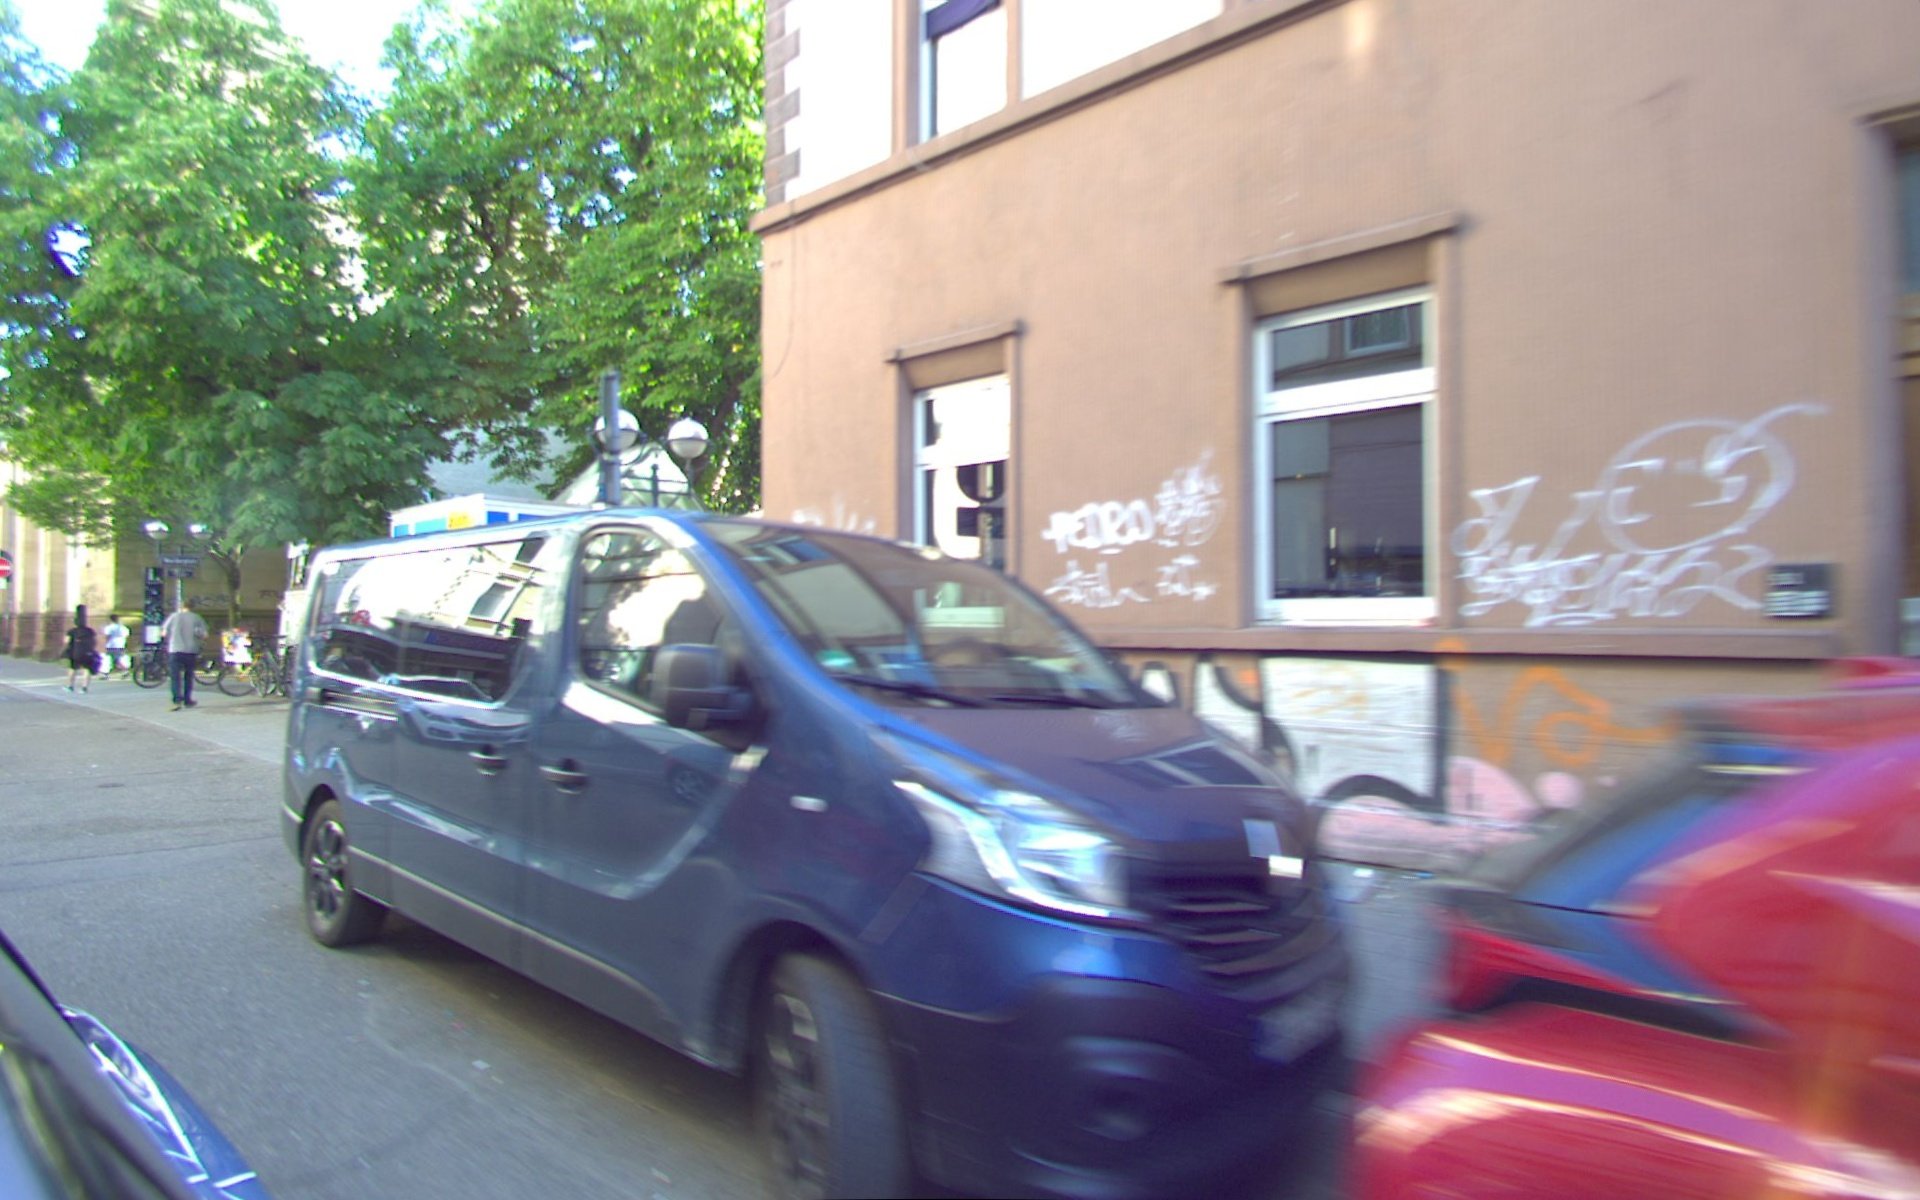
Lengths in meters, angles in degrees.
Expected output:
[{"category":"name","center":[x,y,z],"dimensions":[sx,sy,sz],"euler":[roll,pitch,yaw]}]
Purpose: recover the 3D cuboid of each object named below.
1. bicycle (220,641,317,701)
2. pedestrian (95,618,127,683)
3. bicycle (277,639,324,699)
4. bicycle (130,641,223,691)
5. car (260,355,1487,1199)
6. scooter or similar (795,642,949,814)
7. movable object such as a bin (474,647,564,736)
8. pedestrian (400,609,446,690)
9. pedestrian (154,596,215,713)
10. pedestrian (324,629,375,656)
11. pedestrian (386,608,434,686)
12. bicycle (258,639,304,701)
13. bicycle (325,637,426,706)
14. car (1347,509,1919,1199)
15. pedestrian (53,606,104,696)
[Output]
[{"category":"bicycle","center":[-13.569,1.369,19.877],"dimensions":[1.553,1.090,0.347],"euler":[0,-1,-39]},{"category":"pedestrian","center":[-21.376,1.253,25.472],"dimensions":[0.714,1.605,0.474],"euler":[-1,-1,38]},{"category":"bicycle","center":[-12.206,1.260,18.717],"dimensions":[1.577,1.054,0.289],"euler":[-2,-2,41]},{"category":"bicycle","center":[-18.077,1.502,23.387],"dimensions":[0.346,1.073,1.673],"euler":[-1,0,38]},{"category":"car","center":[-0.987,0.592,4.204],"dimensions":[5.295,1.893,1.999],"euler":[-2,-1,42]},{"category":"scooter or similar","center":[-0.724,0.968,8.051],"dimensions":[1.390,1.226,0.344],"euler":[-1,-1,40]},{"category":"movable object such as a bin","center":[-5.921,1.200,13.590],"dimensions":[0.773,1.094,0.861],"euler":[-1,-1,41]},{"category":"pedestrian","center":[-12.606,1.149,23.777],"dimensions":[0.687,1.849,0.754],"euler":[-1,-1,38]},{"category":"pedestrian","center":[-12.674,0.864,16.542],"dimensions":[0.697,1.847,0.640],"euler":[-1,0,40]},{"category":"pedestrian","center":[-18.575,1.288,30.798],"dimensions":[1.406,0.766,0.947],"euler":[0,0,40]},{"category":"pedestrian","center":[-13.300,1.122,24.454],"dimensions":[1.002,1.839,0.687],"euler":[-1,-1,39]},{"category":"bicycle","center":[-12.410,1.261,18.479],"dimensions":[1.577,1.091,0.289],"euler":[-2,-2,41]},{"category":"bicycle","center":[-10.156,1.224,17.550],"dimensions":[2.027,1.139,0.494],"euler":[-1,-1,27]},{"category":"car","center":[2.609,0.718,0.936],"dimensions":[3.867,1.533,1.732],"euler":[0,-4,41]},{"category":"pedestrian","center":[-18.786,1.064,21.562],"dimensions":[0.719,1.887,0.709],"euler":[-1,-1,40]}]
